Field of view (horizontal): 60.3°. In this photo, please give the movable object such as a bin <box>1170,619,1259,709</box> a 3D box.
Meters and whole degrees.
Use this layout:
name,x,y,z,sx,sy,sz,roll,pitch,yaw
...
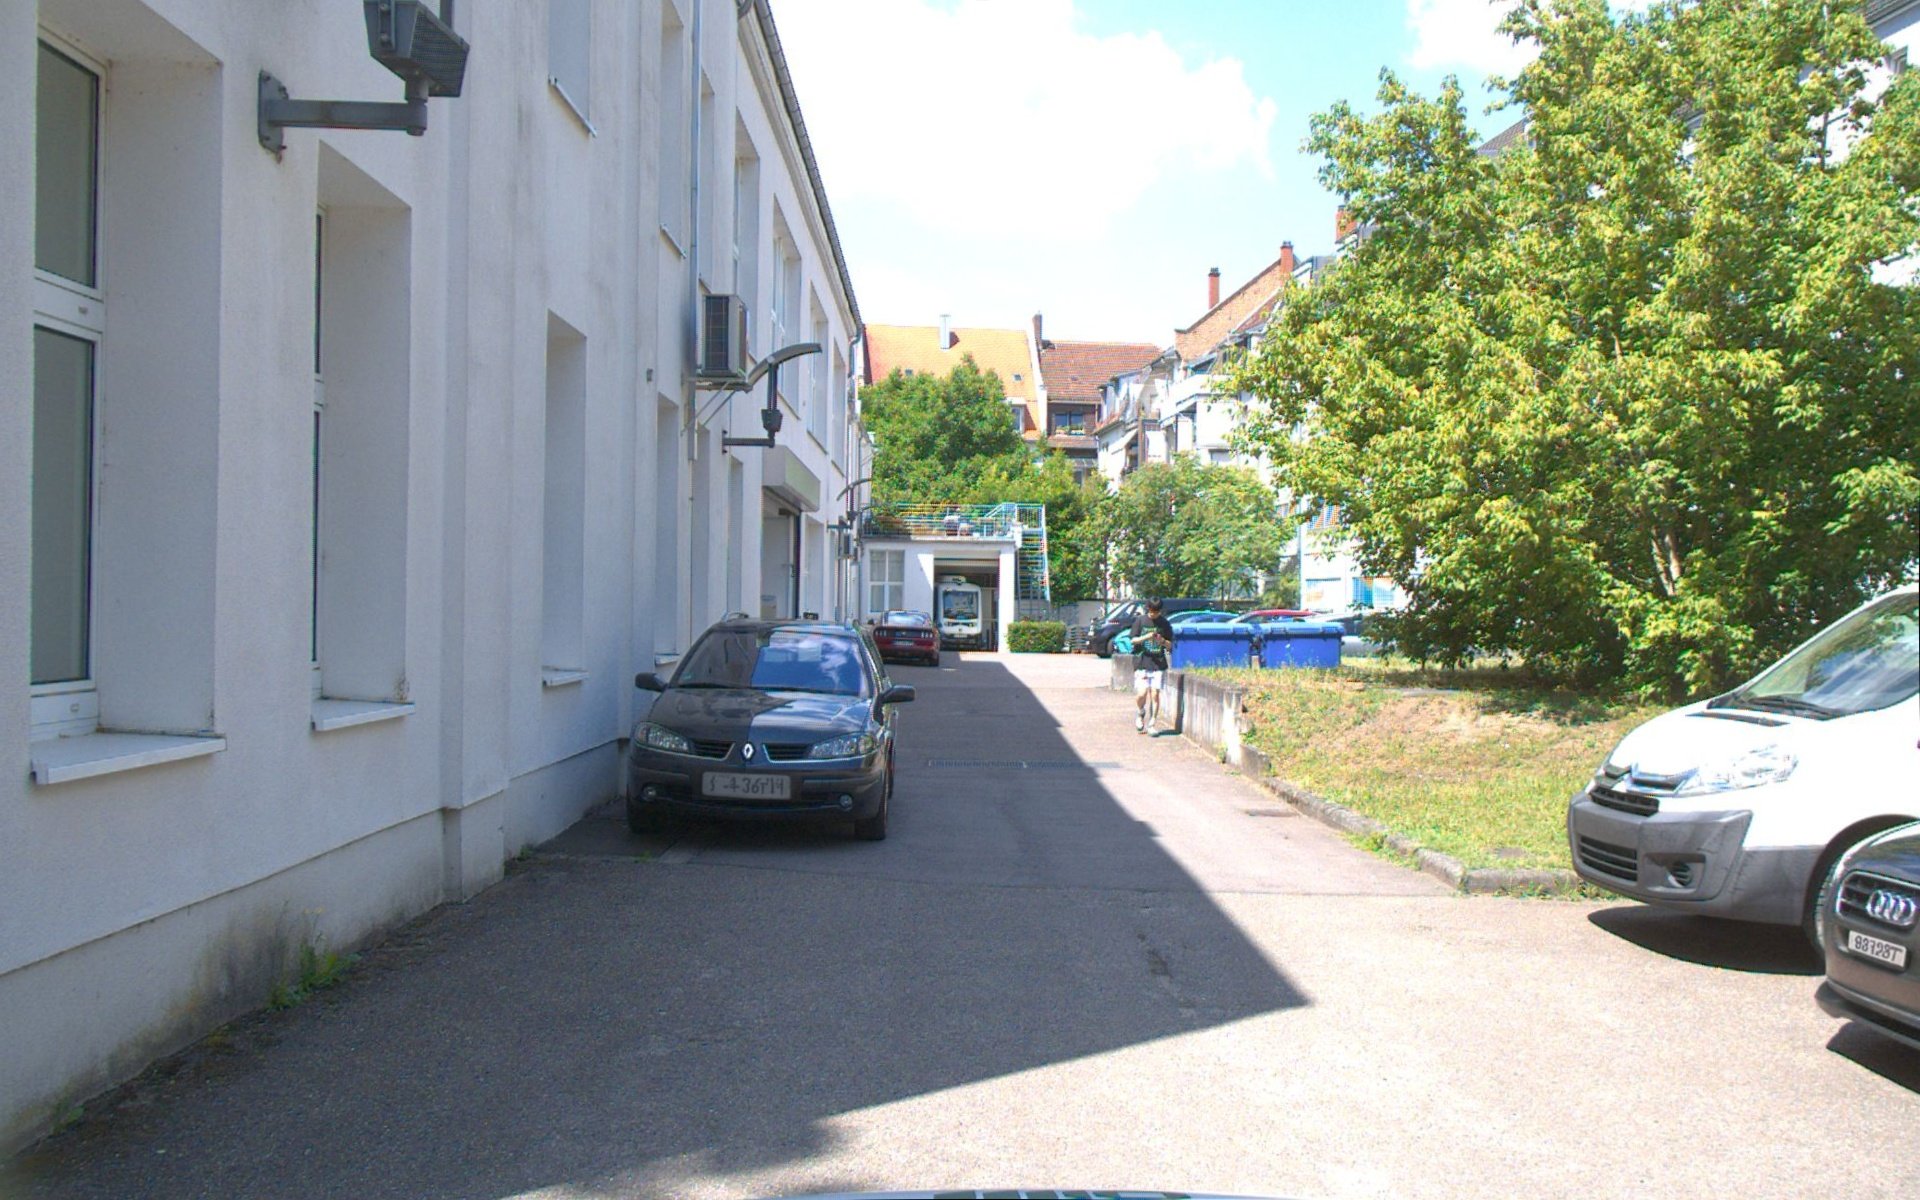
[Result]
name,x,y,z,sx,sy,sz,roll,pitch,yaw
movable object such as a bin,3.921,0.975,25.584,1.168,1.350,1.160,0,0,-3

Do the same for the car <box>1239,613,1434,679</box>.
name,x,y,z,sx,sy,sz,roll,pitch,yaw
car,8.305,0.999,36.675,3.907,1.414,1.803,0,0,-3

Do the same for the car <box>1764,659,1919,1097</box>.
name,x,y,z,sx,sy,sz,roll,pitch,yaw
car,5.373,0.944,5.506,4.517,1.376,1.833,1,0,-1

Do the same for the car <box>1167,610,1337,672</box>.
name,x,y,z,sx,sy,sz,roll,pitch,yaw
car,7.270,1.022,41.449,3.907,1.504,1.803,0,0,-3

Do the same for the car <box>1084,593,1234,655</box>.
name,x,y,z,sx,sy,sz,roll,pitch,yaw
car,6.468,0.768,54.100,4.583,1.992,2.076,0,0,-3

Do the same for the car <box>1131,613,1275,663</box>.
name,x,y,z,sx,sy,sz,roll,pitch,yaw
car,7.031,1.086,48.086,3.907,1.414,1.803,0,0,-3

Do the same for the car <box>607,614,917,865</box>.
name,x,y,z,sx,sy,sz,roll,pitch,yaw
car,-1.263,0.868,12.264,1.718,1.455,4.386,1,0,0

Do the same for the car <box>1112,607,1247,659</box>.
name,x,y,z,sx,sy,sz,roll,pitch,yaw
car,6.746,0.996,51.062,3.907,1.561,1.803,0,0,-3

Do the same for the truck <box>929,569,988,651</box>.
name,x,y,z,sx,sy,sz,roll,pitch,yaw
truck,-0.099,0.388,63.016,1.753,2.988,4.647,1,0,-6

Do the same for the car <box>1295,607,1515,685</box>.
name,x,y,z,sx,sy,sz,roll,pitch,yaw
car,8.870,0.897,33.169,3.907,1.504,1.803,0,0,-3

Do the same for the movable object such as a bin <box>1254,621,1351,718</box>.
name,x,y,z,sx,sy,sz,roll,pitch,yaw
movable object such as a bin,4.927,0.980,23.875,1.191,1.350,1.161,0,0,2

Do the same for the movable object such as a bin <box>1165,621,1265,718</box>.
name,x,y,z,sx,sy,sz,roll,pitch,yaw
movable object such as a bin,3.657,0.987,23.835,1.311,1.350,1.161,0,0,2

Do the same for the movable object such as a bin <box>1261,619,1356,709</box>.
name,x,y,z,sx,sy,sz,roll,pitch,yaw
movable object such as a bin,5.371,0.969,25.567,1.192,1.350,1.160,0,0,-3

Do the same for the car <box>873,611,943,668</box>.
name,x,y,z,sx,sy,sz,roll,pitch,yaw
car,-1.371,1.007,44.013,1.762,1.414,3.999,0,0,-1

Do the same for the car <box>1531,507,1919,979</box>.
name,x,y,z,sx,sy,sz,roll,pitch,yaw
car,5.519,0.650,8.236,4.662,2.049,2.000,1,-1,-1

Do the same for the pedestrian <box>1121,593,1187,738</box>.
name,x,y,z,sx,sy,sz,roll,pitch,yaw
pedestrian,2.449,0.815,20.929,0.741,1.786,0.751,1,0,0
